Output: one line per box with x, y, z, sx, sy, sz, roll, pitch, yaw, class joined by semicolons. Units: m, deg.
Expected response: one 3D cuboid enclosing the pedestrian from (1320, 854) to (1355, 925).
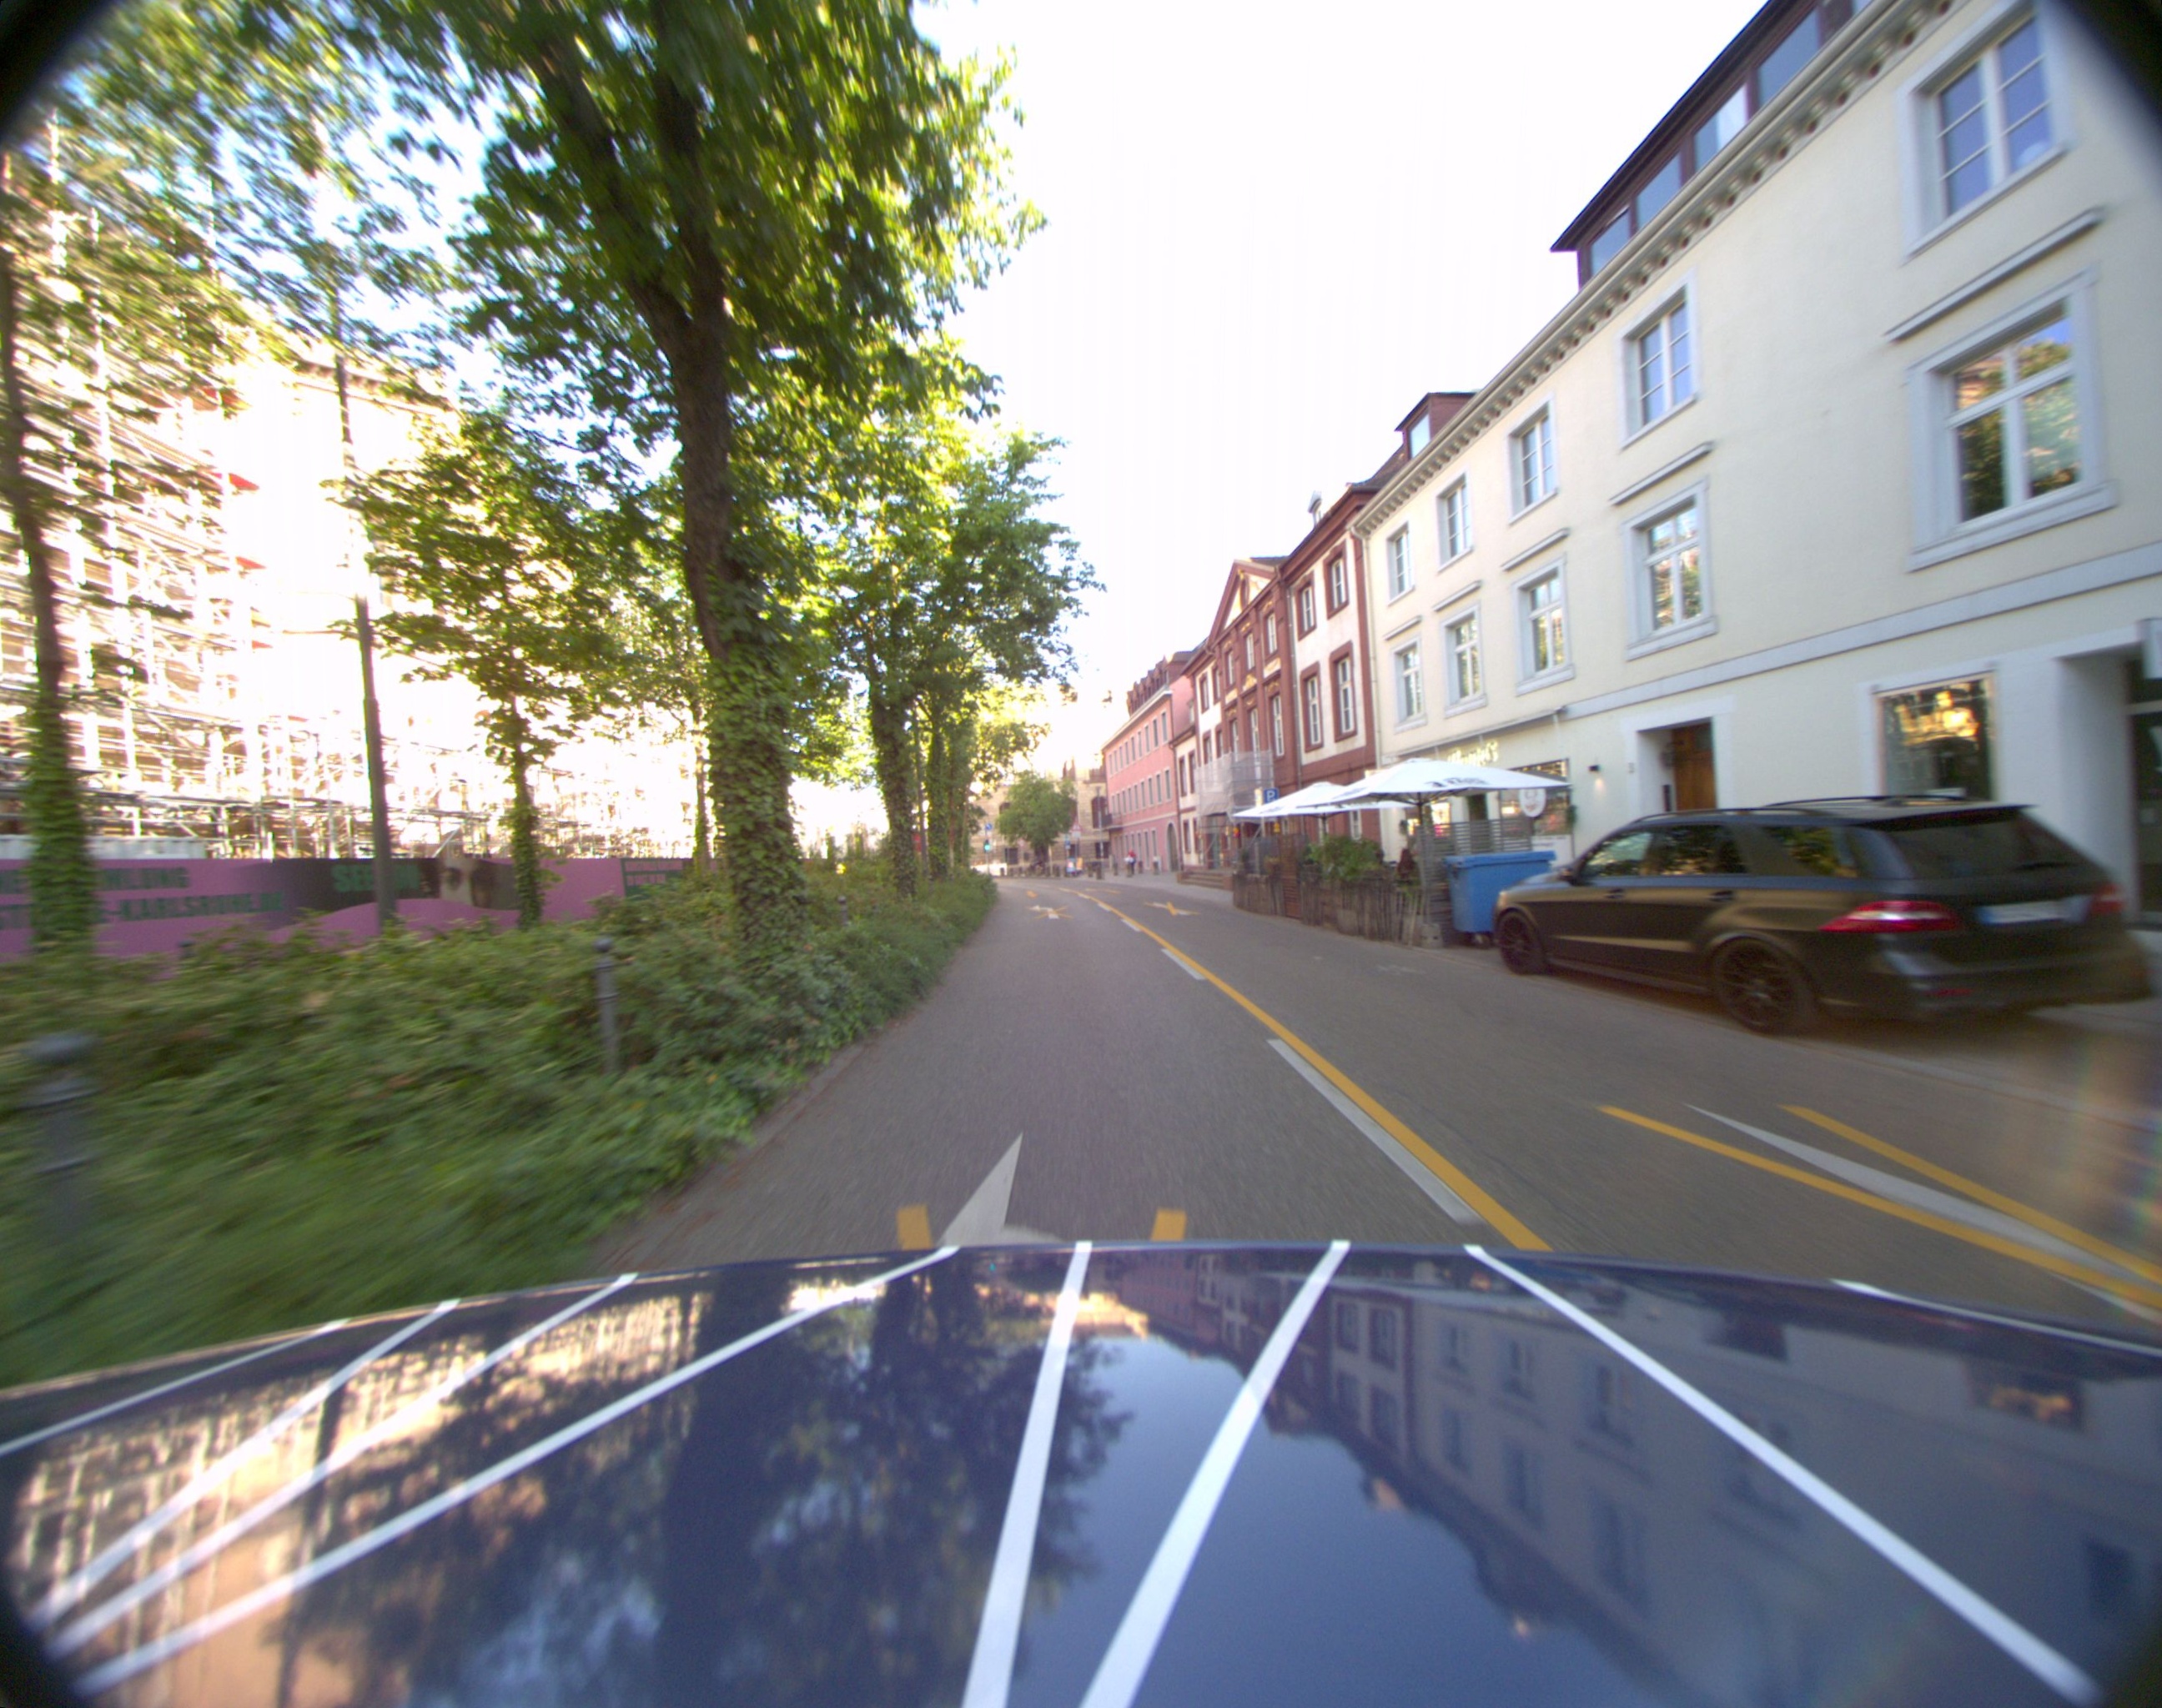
5.359;0.736;15.894;0.472;1.425;0.502;-4;1;1;pedestrian

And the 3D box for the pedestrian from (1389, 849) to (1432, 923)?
6.383;0.615;14.732;0.525;1.383;0.488;-4;1;-7;pedestrian

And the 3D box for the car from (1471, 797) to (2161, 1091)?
5.843;0.512;6.924;1.927;1.670;4.783;-3;0;-2;car

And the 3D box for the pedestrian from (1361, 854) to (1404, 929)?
5.774;0.712;14.578;0.525;1.383;0.488;-4;1;-7;pedestrian

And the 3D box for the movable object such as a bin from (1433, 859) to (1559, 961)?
5.792;0.757;10.683;1.219;1.288;0.930;-3;1;1;movable object such as a bin

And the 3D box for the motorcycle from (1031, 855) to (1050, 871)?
-3.364;0.746;62.869;0.815;1.309;2.333;-3;0;-21;motorcycle

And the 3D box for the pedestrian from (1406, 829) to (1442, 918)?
6.986;0.391;15.493;0.438;1.765;0.598;-3;1;9;pedestrian

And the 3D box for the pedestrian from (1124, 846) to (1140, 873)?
3.322;0.365;49.440;0.793;1.679;0.868;-5;1;-7;pedestrian

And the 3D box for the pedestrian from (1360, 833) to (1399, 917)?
6.500;0.452;16.567;0.597;1.765;0.439;-3;1;4;pedestrian
